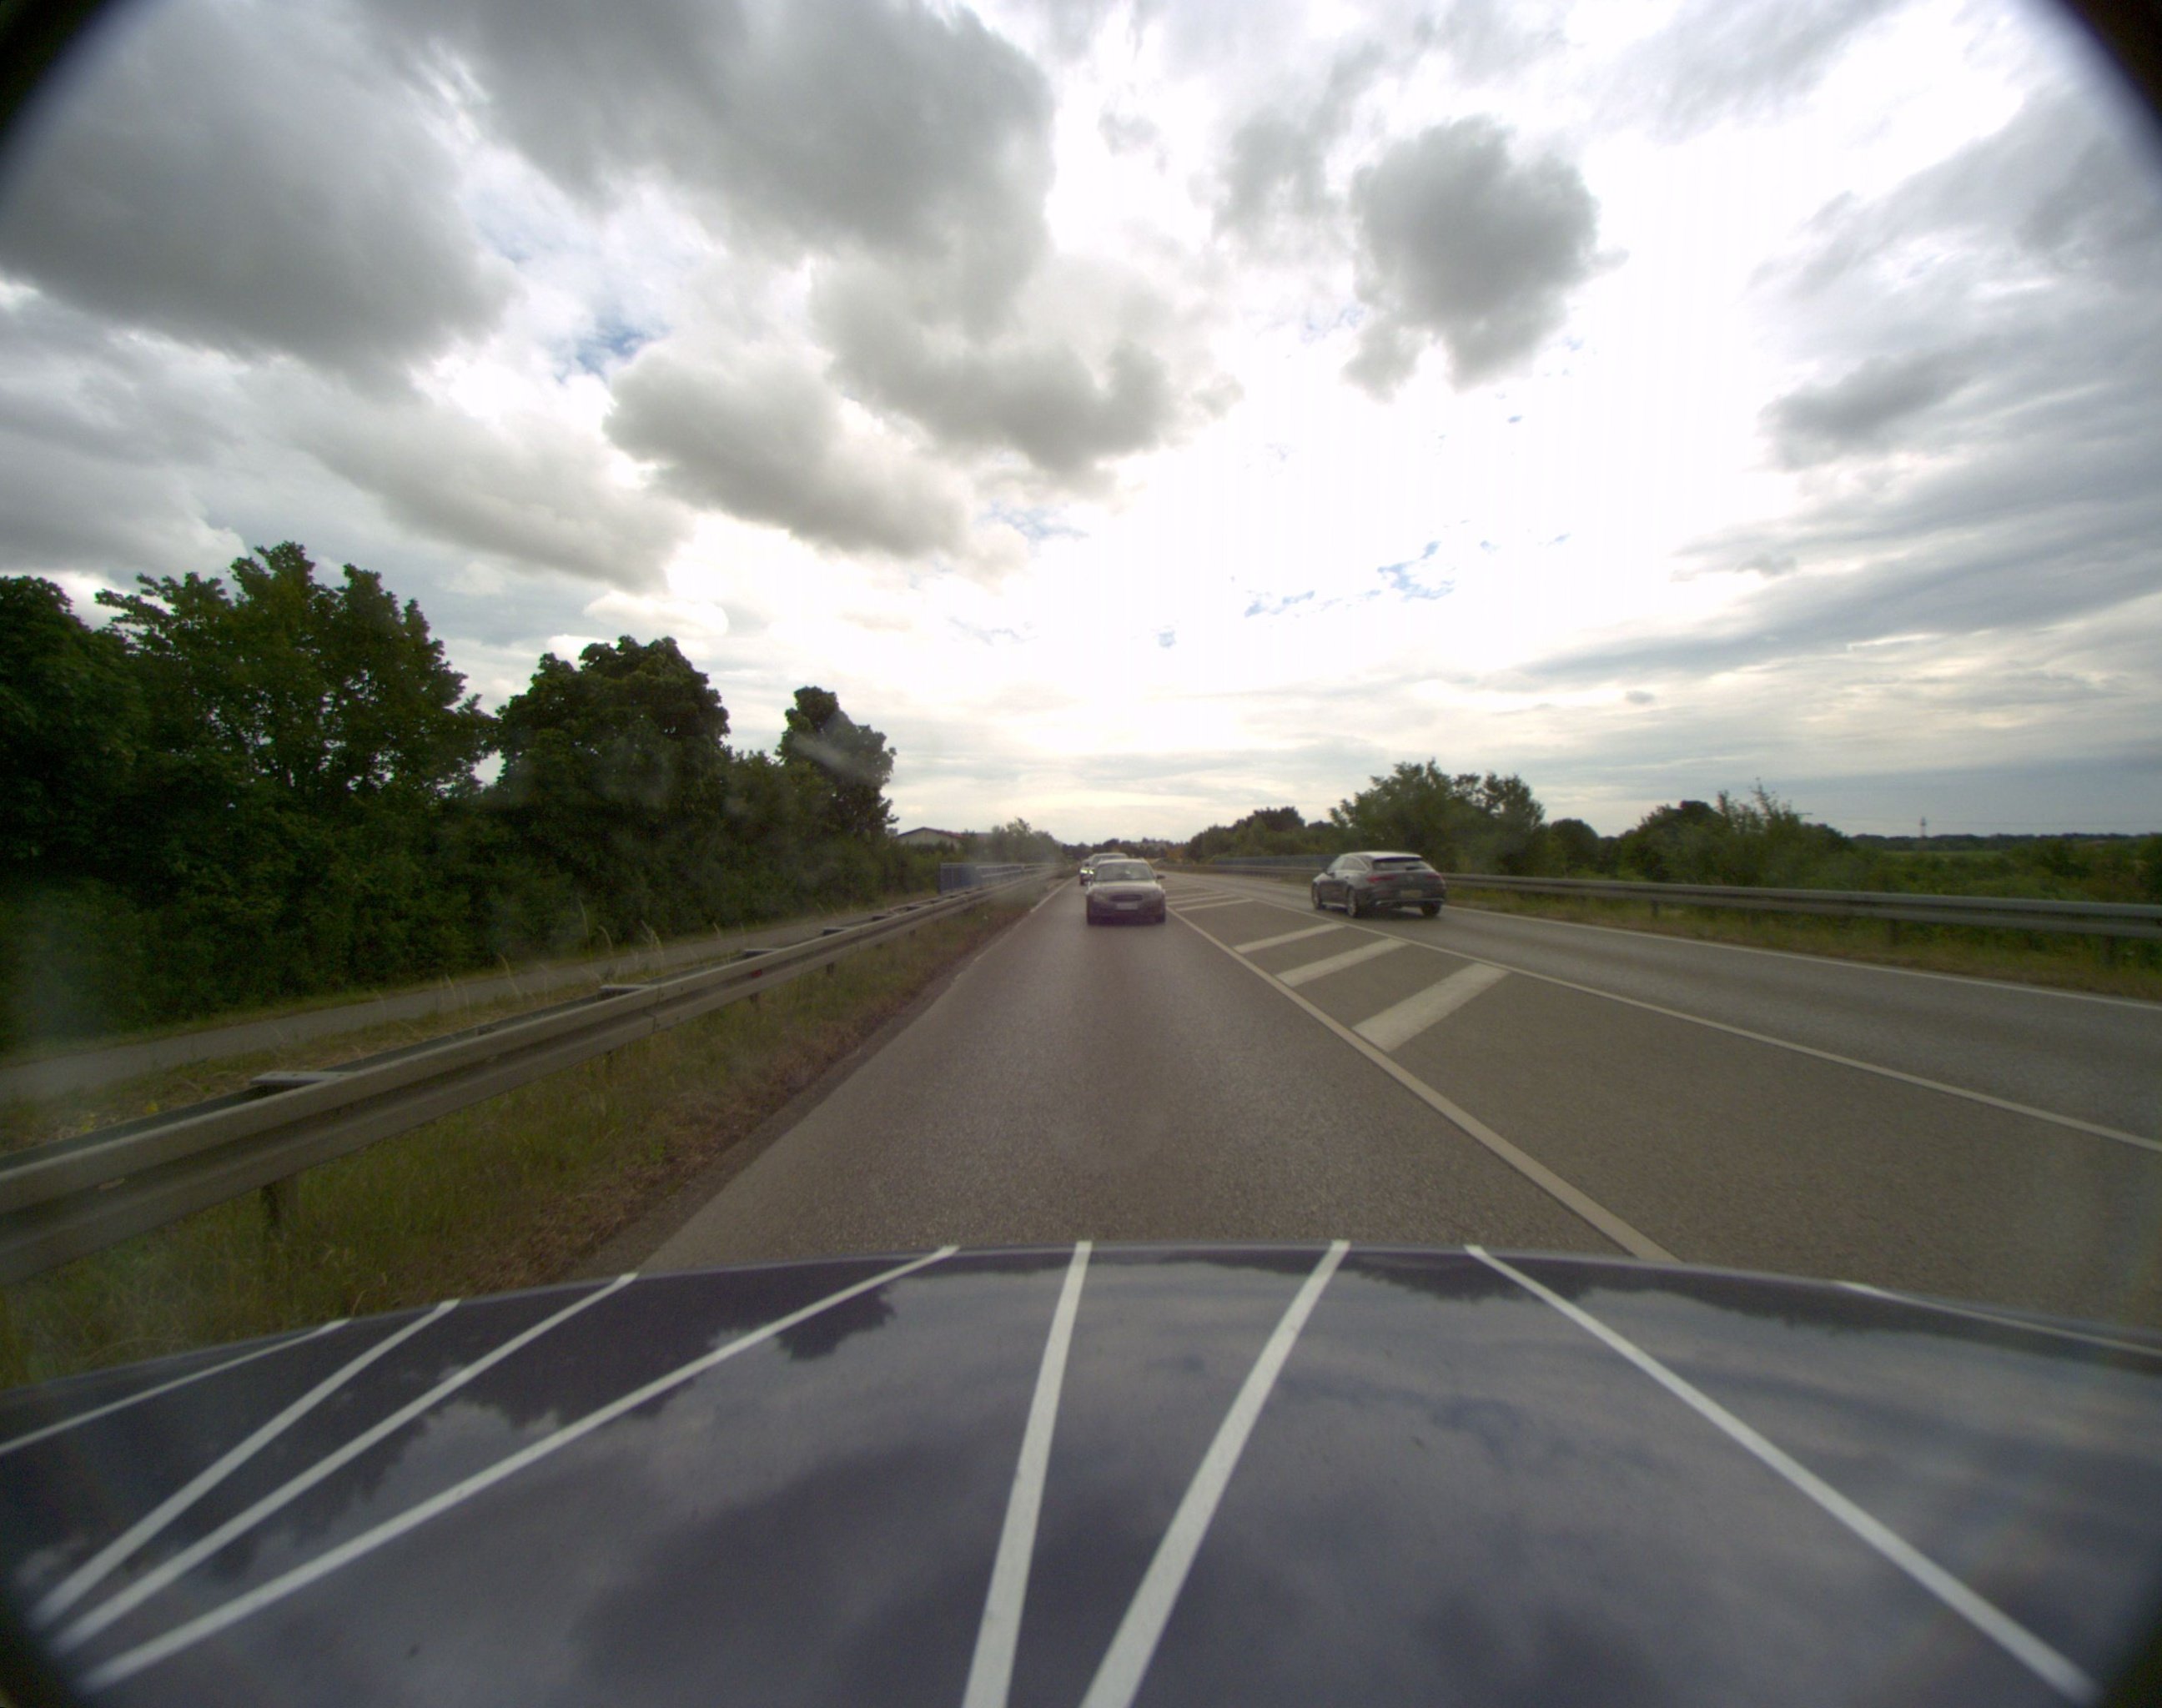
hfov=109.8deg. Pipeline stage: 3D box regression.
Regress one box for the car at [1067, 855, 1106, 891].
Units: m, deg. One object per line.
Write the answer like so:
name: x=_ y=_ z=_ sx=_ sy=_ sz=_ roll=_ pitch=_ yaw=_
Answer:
car: x=0.309 y=0.821 z=34.643 sx=1.602 sy=1.494 sz=3.962 roll=-2 pitch=0 yaw=2

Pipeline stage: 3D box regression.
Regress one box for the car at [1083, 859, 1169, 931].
car: x=0.972 y=0.877 z=17.896 sx=1.768 sy=1.383 sz=3.876 roll=-2 pitch=1 yaw=1

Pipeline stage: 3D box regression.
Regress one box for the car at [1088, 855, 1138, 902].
car: x=1.122 y=0.832 z=28.011 sx=1.684 sy=1.521 sz=4.000 roll=-2 pitch=0 yaw=1

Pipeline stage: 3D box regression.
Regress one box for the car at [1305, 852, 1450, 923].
car: x=6.624 y=0.671 z=17.500 sx=1.626 sy=1.371 sz=4.512 roll=-1 pitch=0 yaw=1

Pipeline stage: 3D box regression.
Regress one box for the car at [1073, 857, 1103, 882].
car: x=0.417 y=0.910 z=45.490 sx=1.670 sy=1.339 sz=4.000 roll=-2 pitch=0 yaw=1
